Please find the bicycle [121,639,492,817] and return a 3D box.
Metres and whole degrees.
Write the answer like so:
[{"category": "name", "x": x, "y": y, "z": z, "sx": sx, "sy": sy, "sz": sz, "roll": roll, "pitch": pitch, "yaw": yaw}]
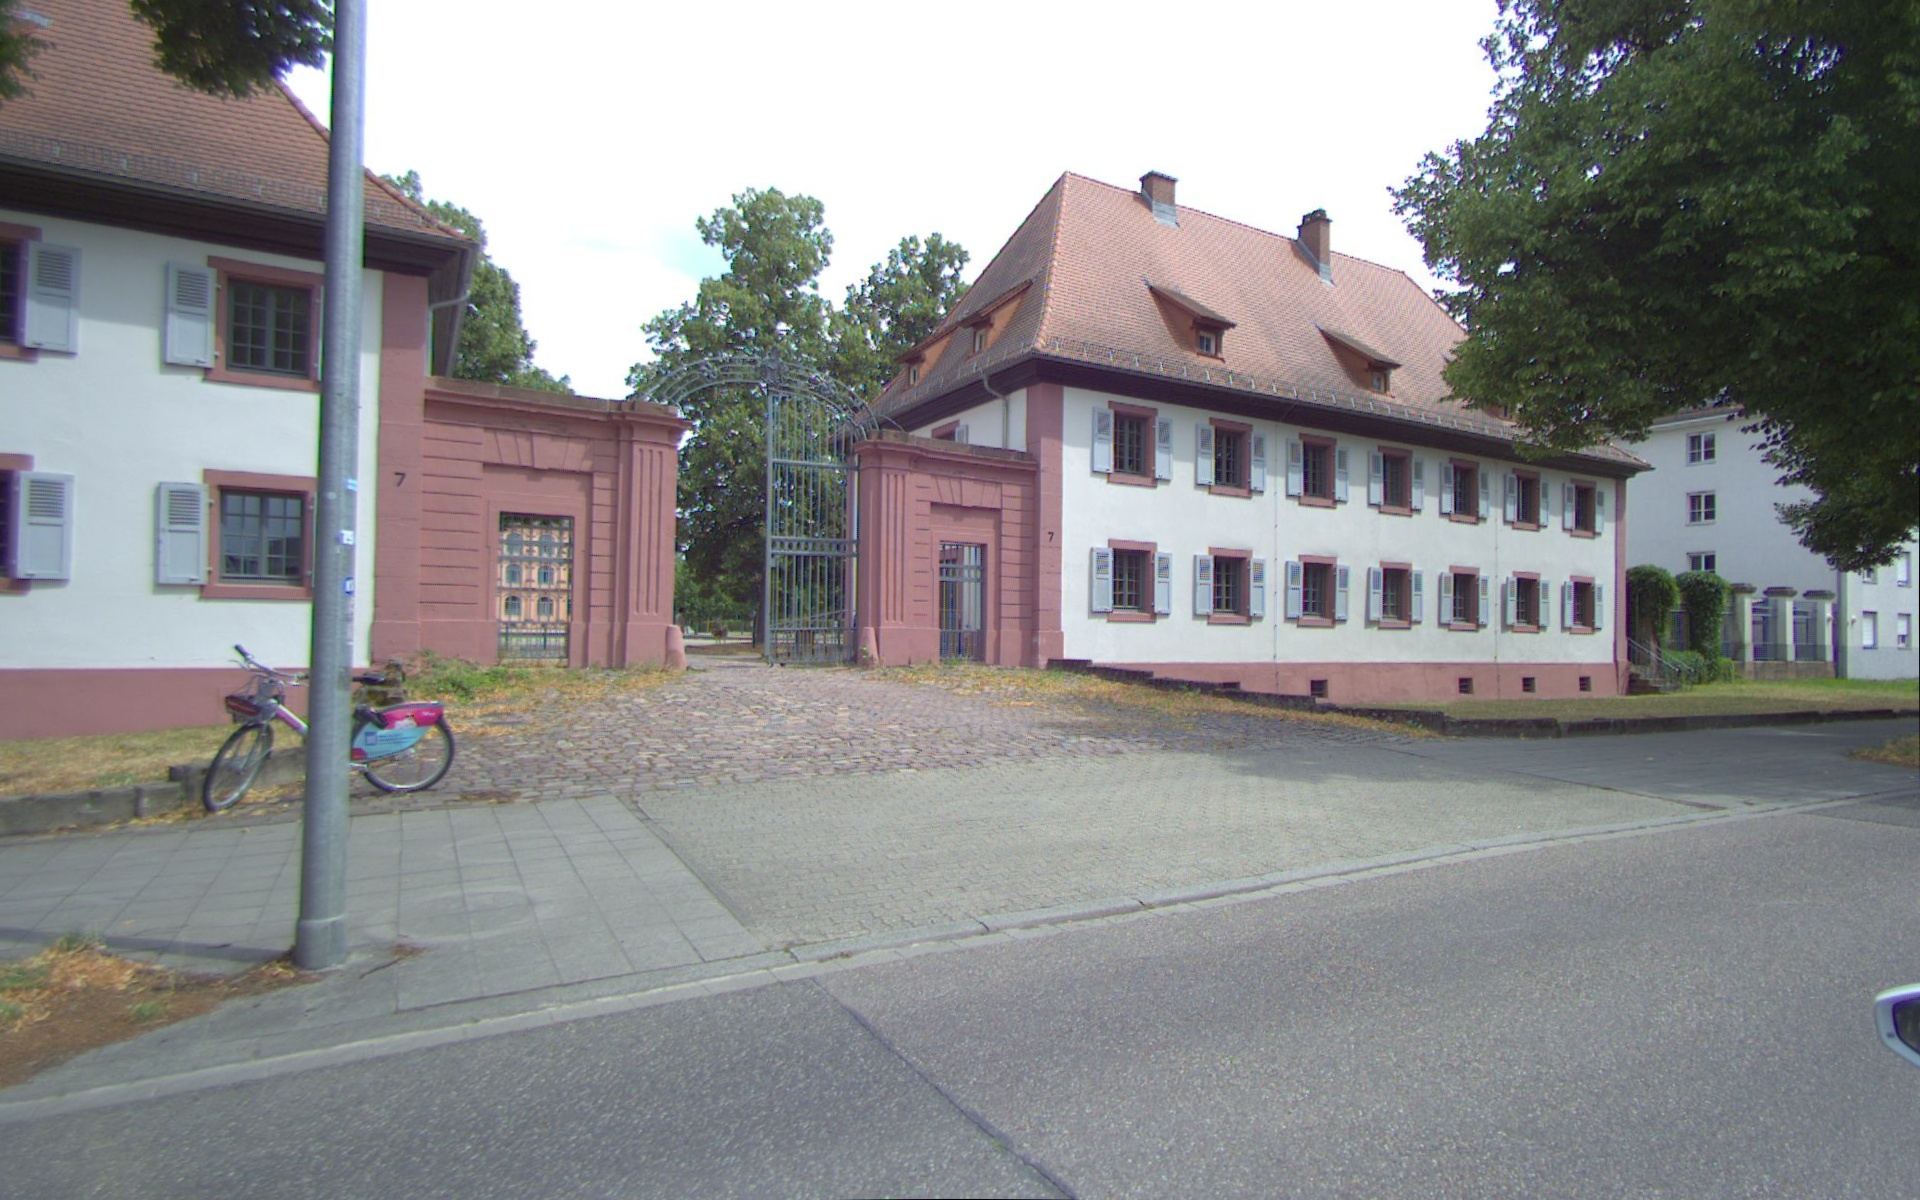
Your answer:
[{"category": "bicycle", "x": -4.712, "y": 0.872, "z": 7.438, "sx": 2.199, "sy": 1.110, "sz": 0.719, "roll": 1, "pitch": 2, "yaw": -30}]
